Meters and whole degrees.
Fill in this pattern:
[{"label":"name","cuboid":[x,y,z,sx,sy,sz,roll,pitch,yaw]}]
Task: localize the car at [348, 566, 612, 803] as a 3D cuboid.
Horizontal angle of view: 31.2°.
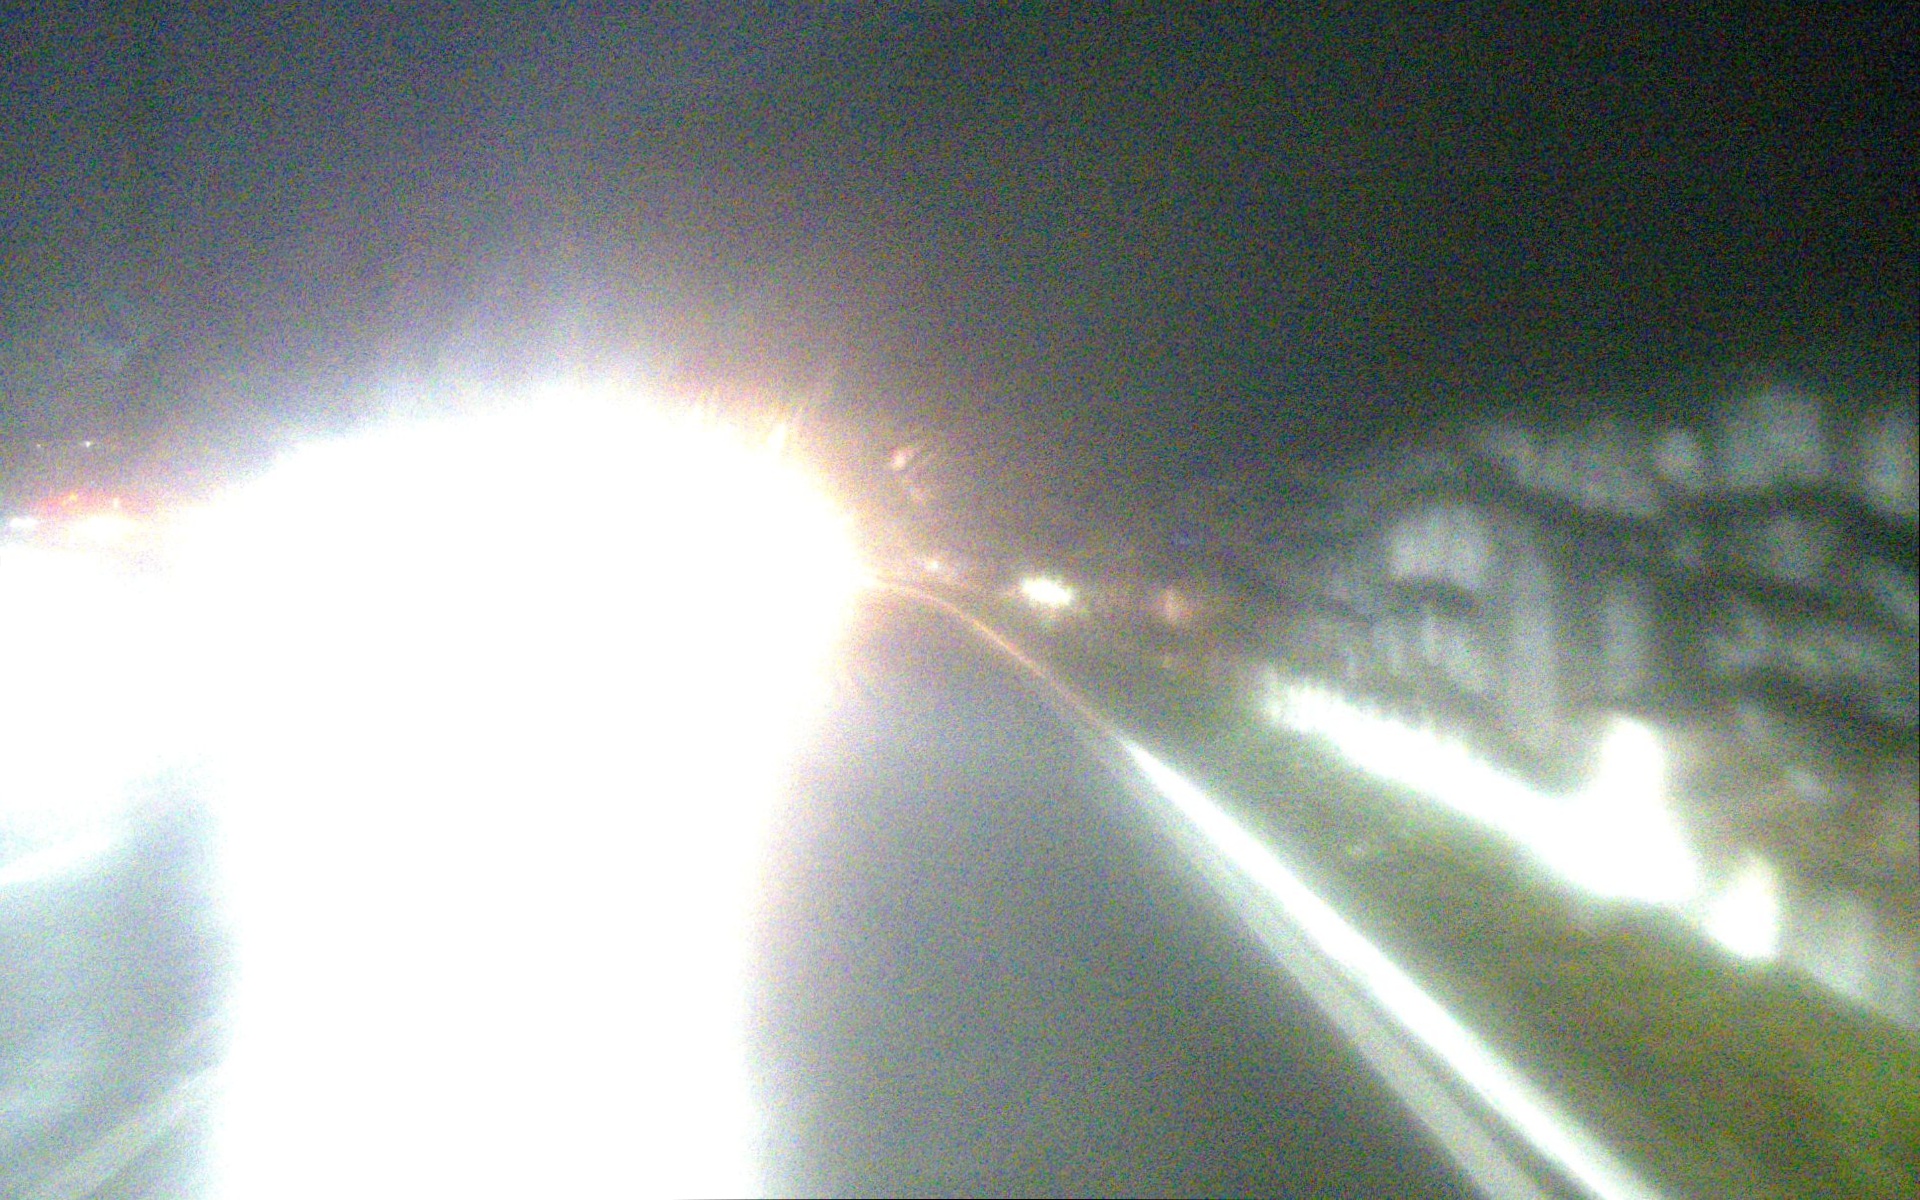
[{"label":"car","cuboid":[-4.547,0.787,33.149,1.993,2.007,4.000,4,-1,-2]}]
